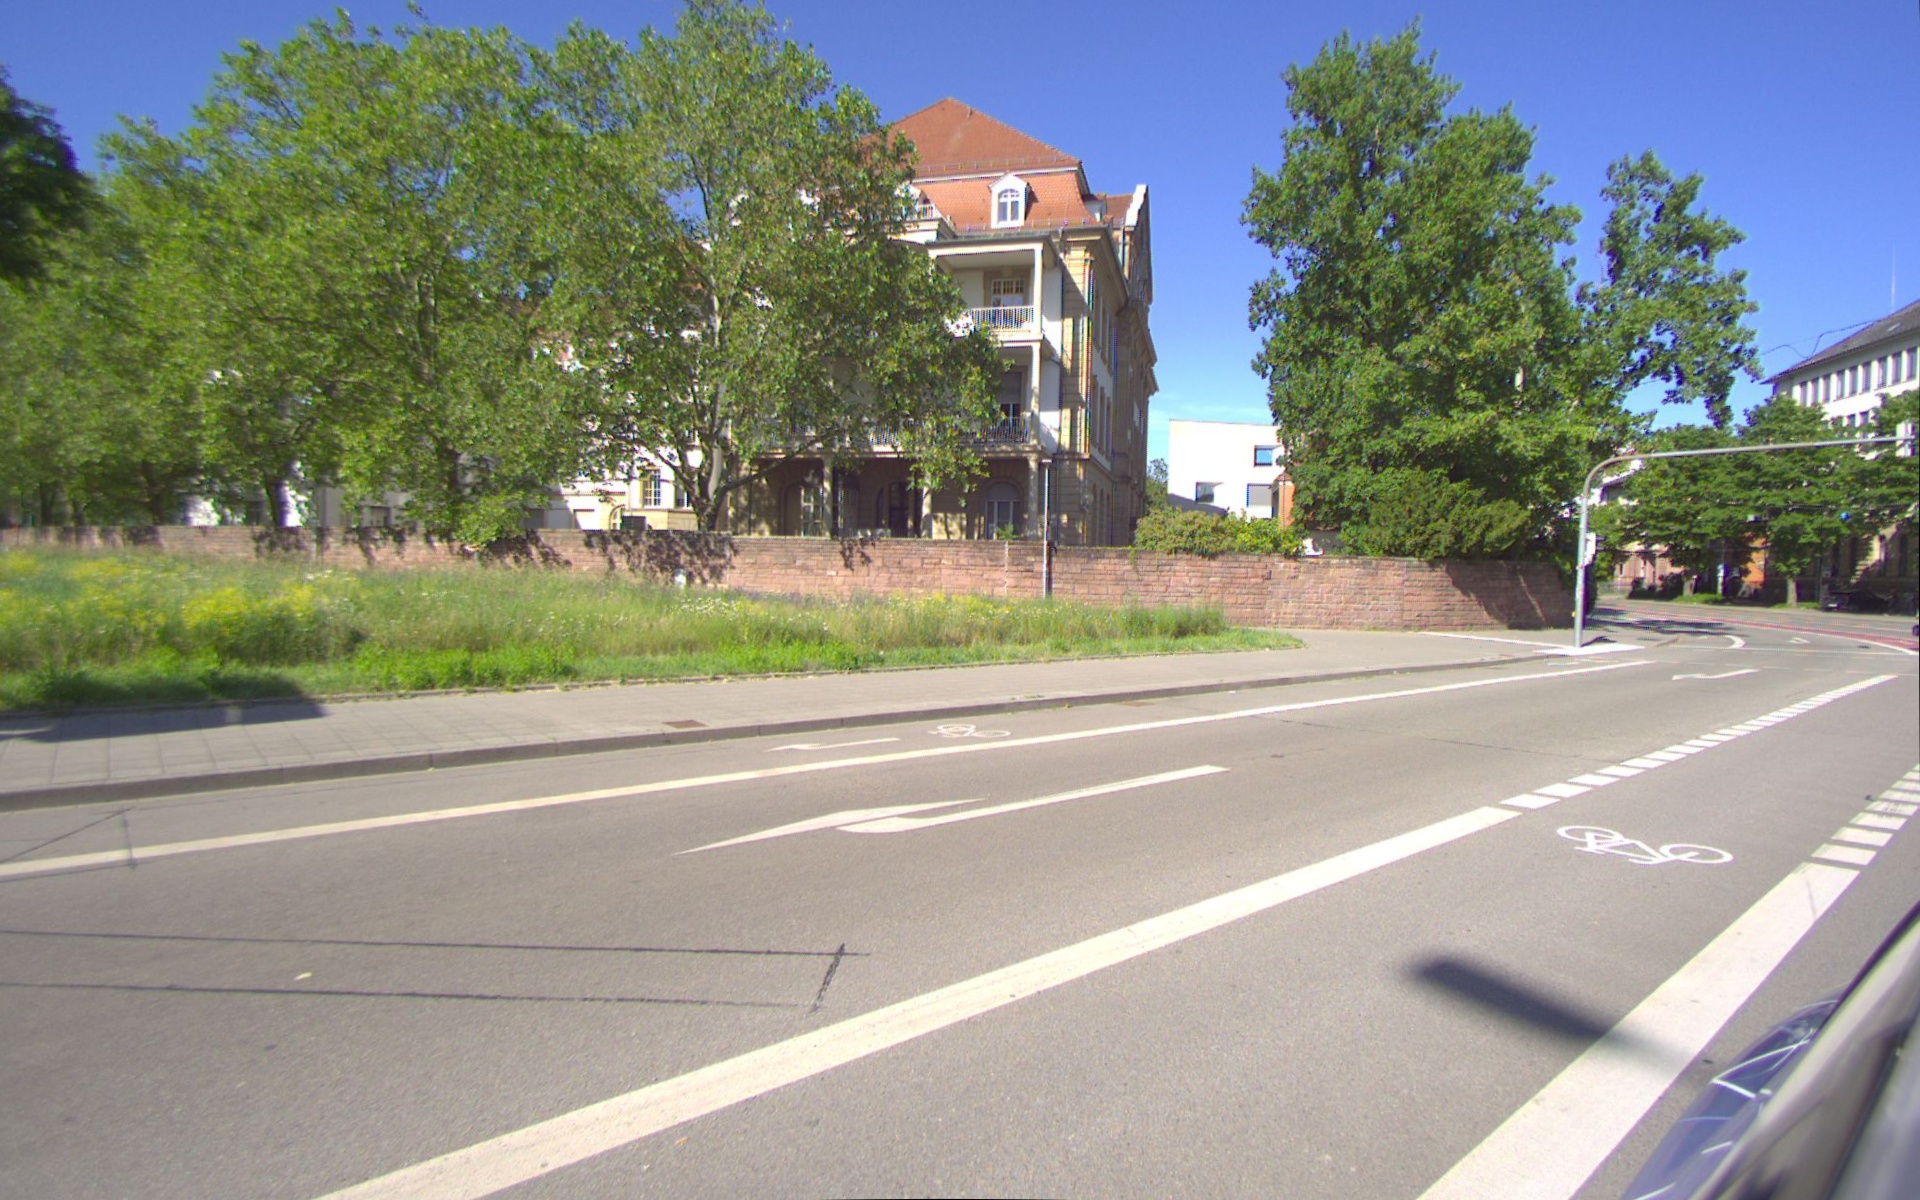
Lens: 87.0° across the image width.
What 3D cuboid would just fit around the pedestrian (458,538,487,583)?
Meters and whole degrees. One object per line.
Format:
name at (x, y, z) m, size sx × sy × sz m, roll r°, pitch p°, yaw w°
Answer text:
pedestrian at (-16.382, -1.315, 33.991) m, size 0.516 × 1.461 × 0.721 m, roll 0°, pitch 0°, yaw 20°

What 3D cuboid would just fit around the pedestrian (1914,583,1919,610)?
pedestrian at (62.577, -0.216, 65.773) m, size 0.670 × 1.745 × 0.584 m, roll 1°, pitch 3°, yaw 27°

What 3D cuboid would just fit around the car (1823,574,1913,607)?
car at (61.206, -0.649, 68.243) m, size 4.615 × 2.038 × 2.004 m, roll 1°, pitch 2°, yaw -9°

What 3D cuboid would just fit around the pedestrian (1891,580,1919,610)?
pedestrian at (60.006, -0.322, 63.975) m, size 1.366 × 1.844 × 0.937 m, roll 1°, pitch 1°, yaw 4°
